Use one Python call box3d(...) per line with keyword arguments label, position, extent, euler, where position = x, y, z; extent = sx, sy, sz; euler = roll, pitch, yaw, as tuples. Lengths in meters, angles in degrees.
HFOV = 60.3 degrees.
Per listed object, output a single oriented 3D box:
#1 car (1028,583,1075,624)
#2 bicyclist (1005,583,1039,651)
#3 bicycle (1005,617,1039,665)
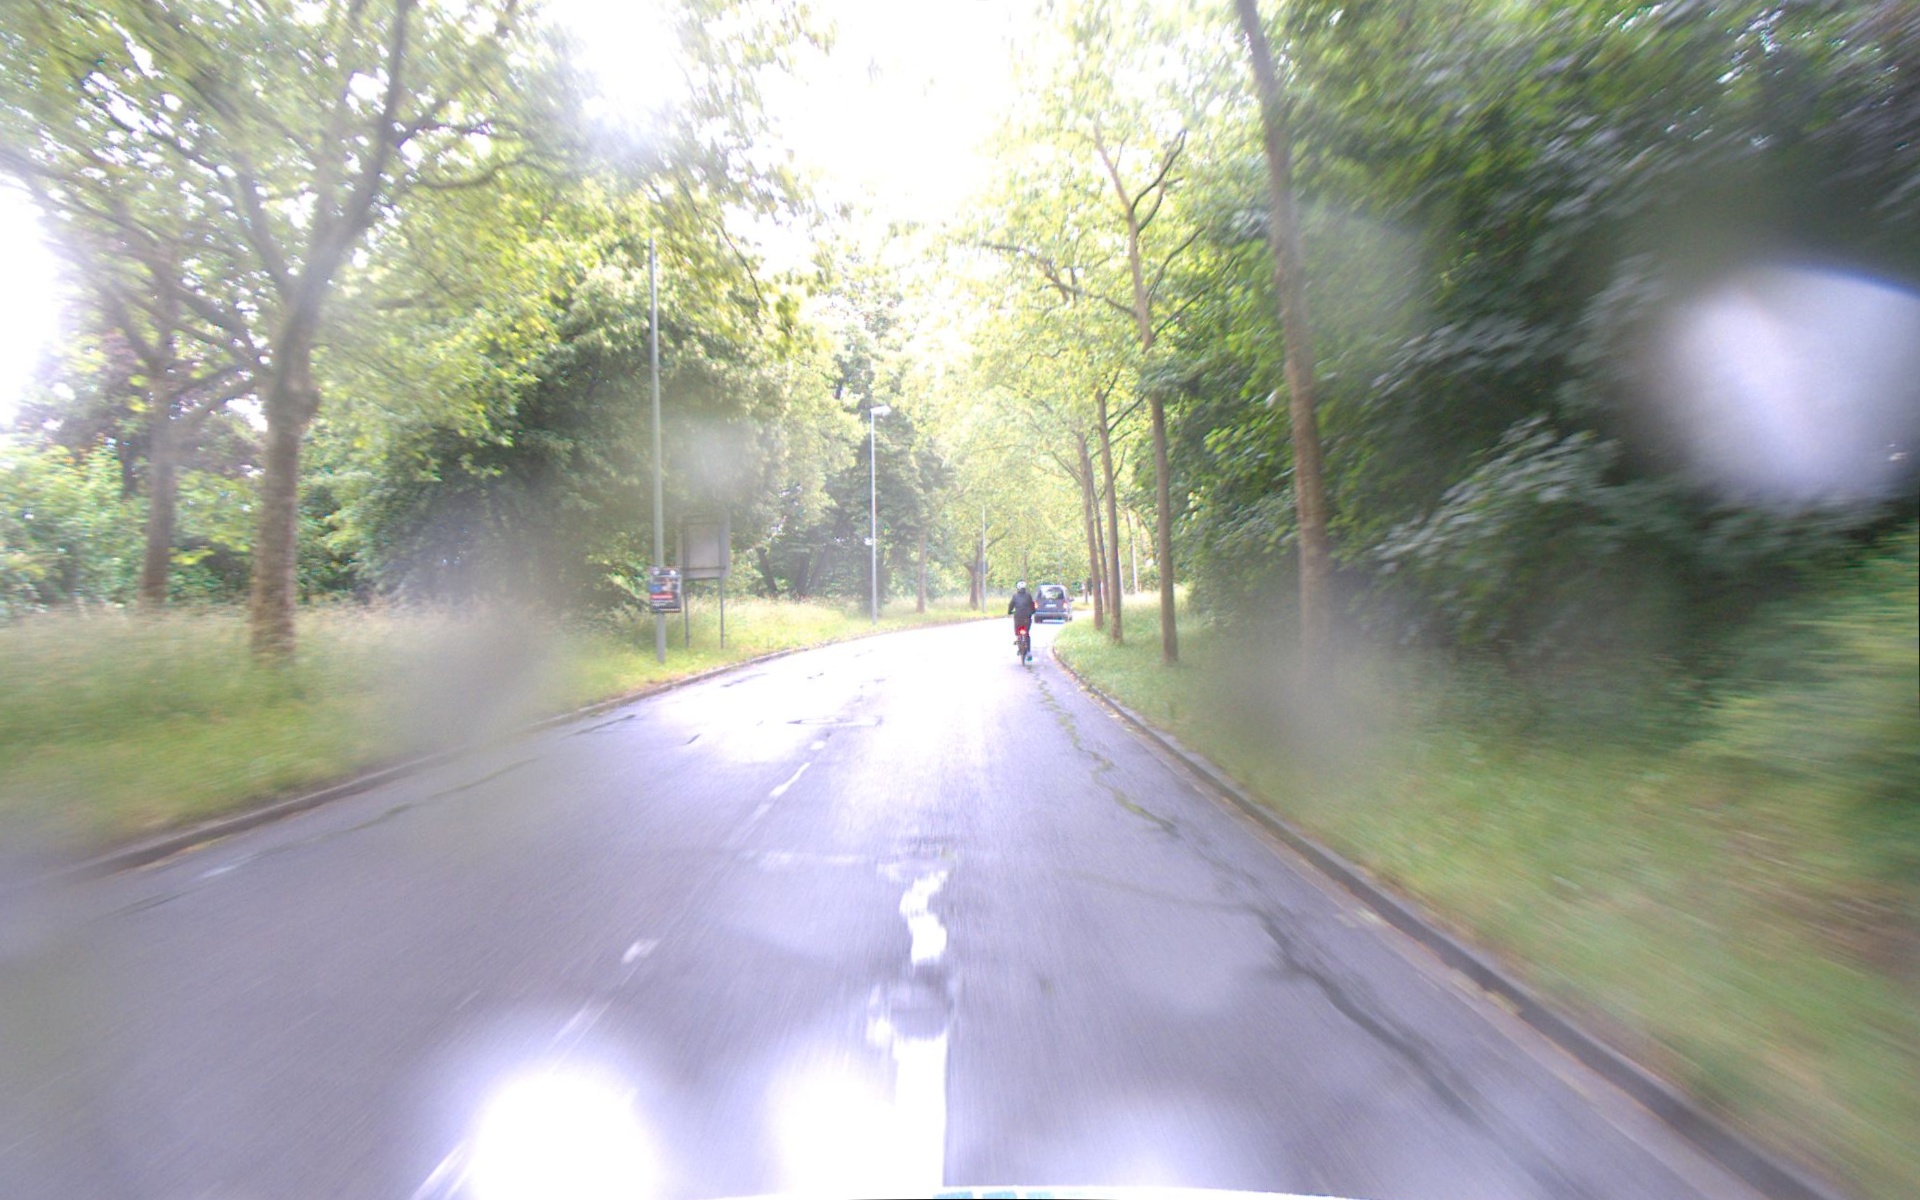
box3d(label="car", position=(4.582, 0.174, 82.253), extent=(1.943, 1.959, 4.003), euler=(0, 0, 9))
box3d(label="bicyclist", position=(1.354, 0.359, 35.840), extent=(0.714, 1.435, 0.973), euler=(1, 0, 2))
box3d(label="bicycle", position=(1.359, 0.876, 36.008), extent=(0.714, 0.991, 2.174), euler=(1, 0, 3))
